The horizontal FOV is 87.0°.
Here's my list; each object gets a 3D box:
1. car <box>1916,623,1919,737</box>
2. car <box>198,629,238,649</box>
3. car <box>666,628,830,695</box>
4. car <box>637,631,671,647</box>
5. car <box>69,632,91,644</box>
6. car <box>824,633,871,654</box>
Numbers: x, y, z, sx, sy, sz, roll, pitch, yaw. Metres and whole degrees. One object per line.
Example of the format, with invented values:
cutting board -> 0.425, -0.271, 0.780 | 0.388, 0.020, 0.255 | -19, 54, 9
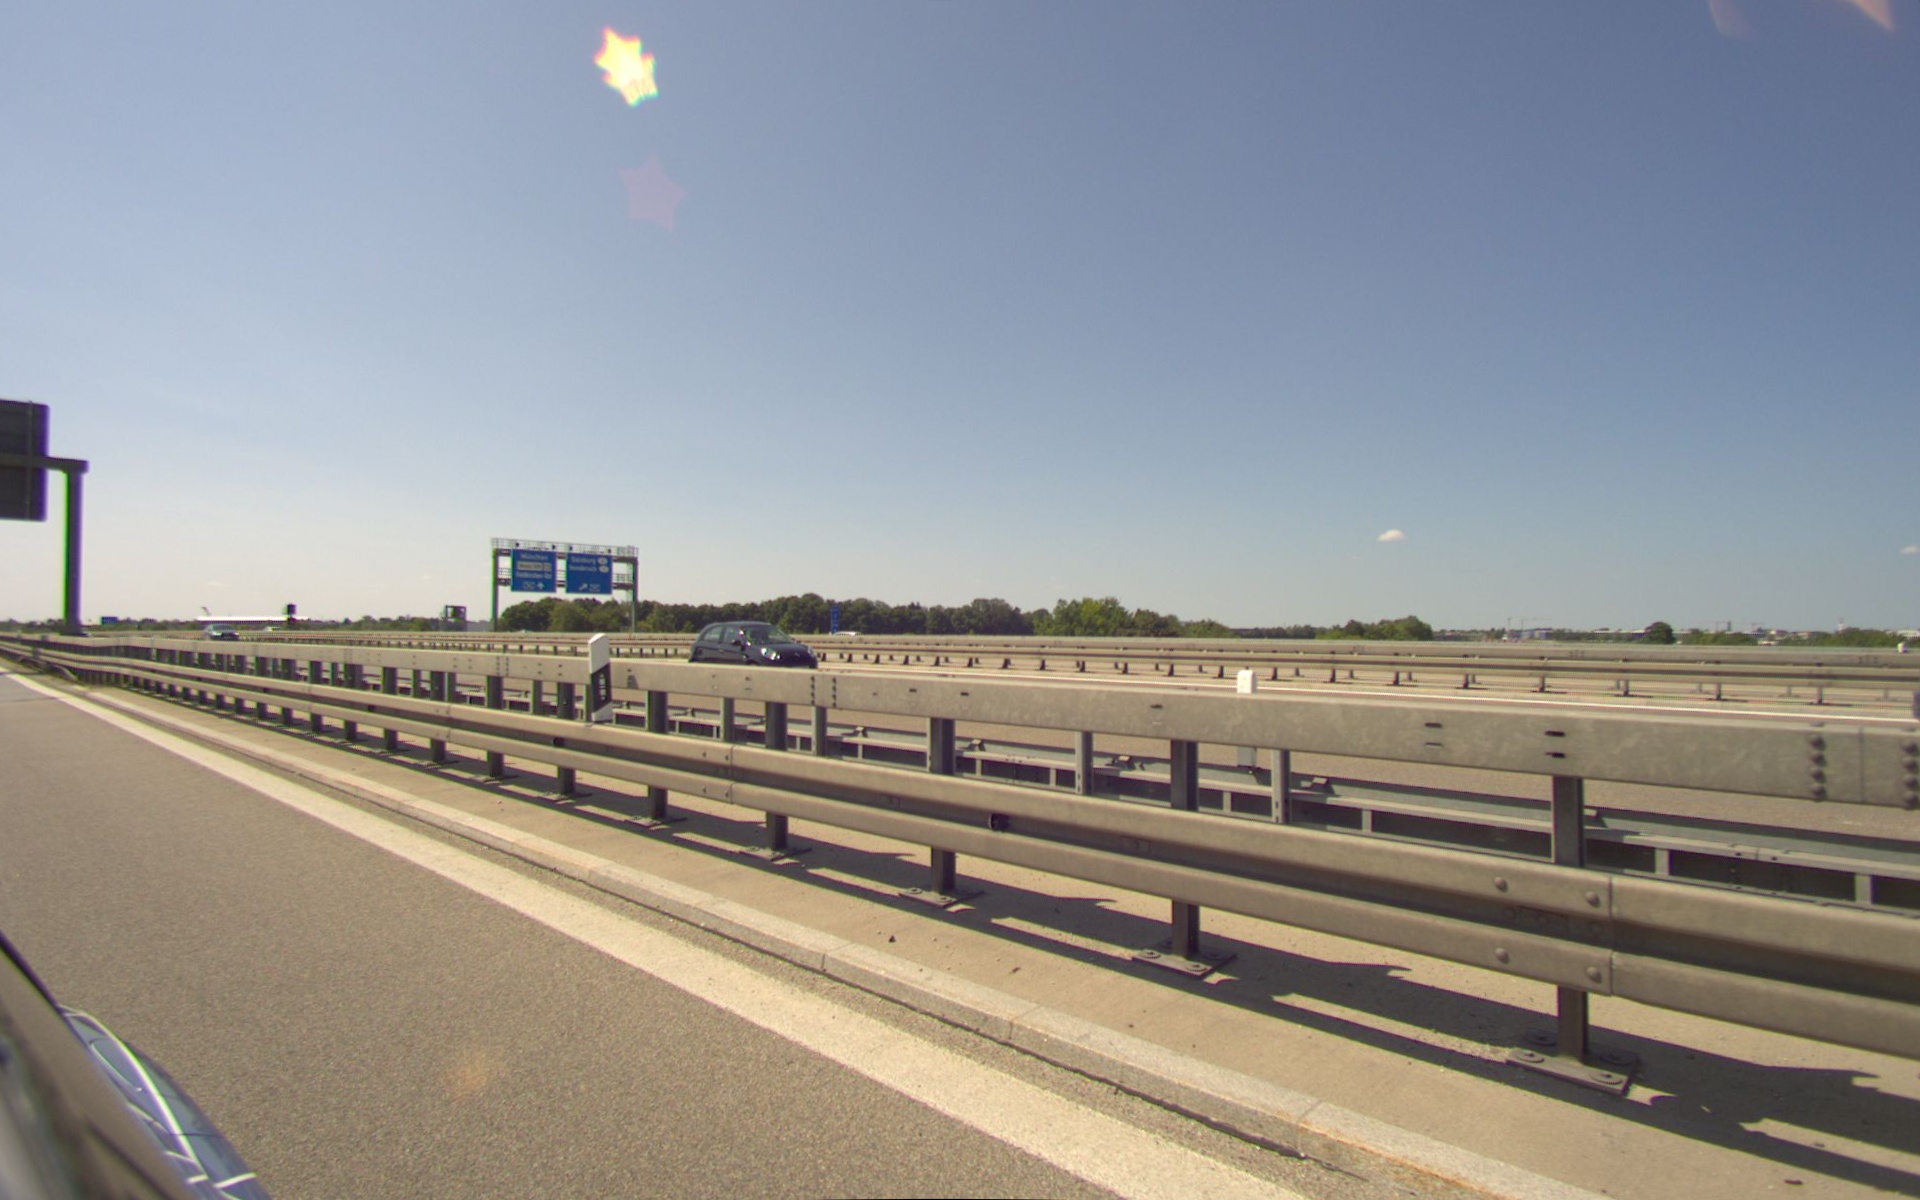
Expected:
car -> 13.365, 0.969, 11.041 | 4.217, 1.433, 1.743 | -1, -2, 44
car -> -59.522, 3.135, 81.190 | 4.576, 1.529, 1.817 | -1, -2, 44
car -> -5.219, 1.429, 24.594 | 4.217, 1.443, 1.809 | -1, -1, 43
car -> -29.371, 3.738, 97.096 | 3.343, 1.364, 1.561 | 1, -1, 42
car -> -123.696, 5.336, 142.229 | 4.576, 1.529, 1.817 | -1, -2, 44
car -> -8.064, 3.119, 72.508 | 3.343, 1.364, 1.561 | 1, -1, 42
